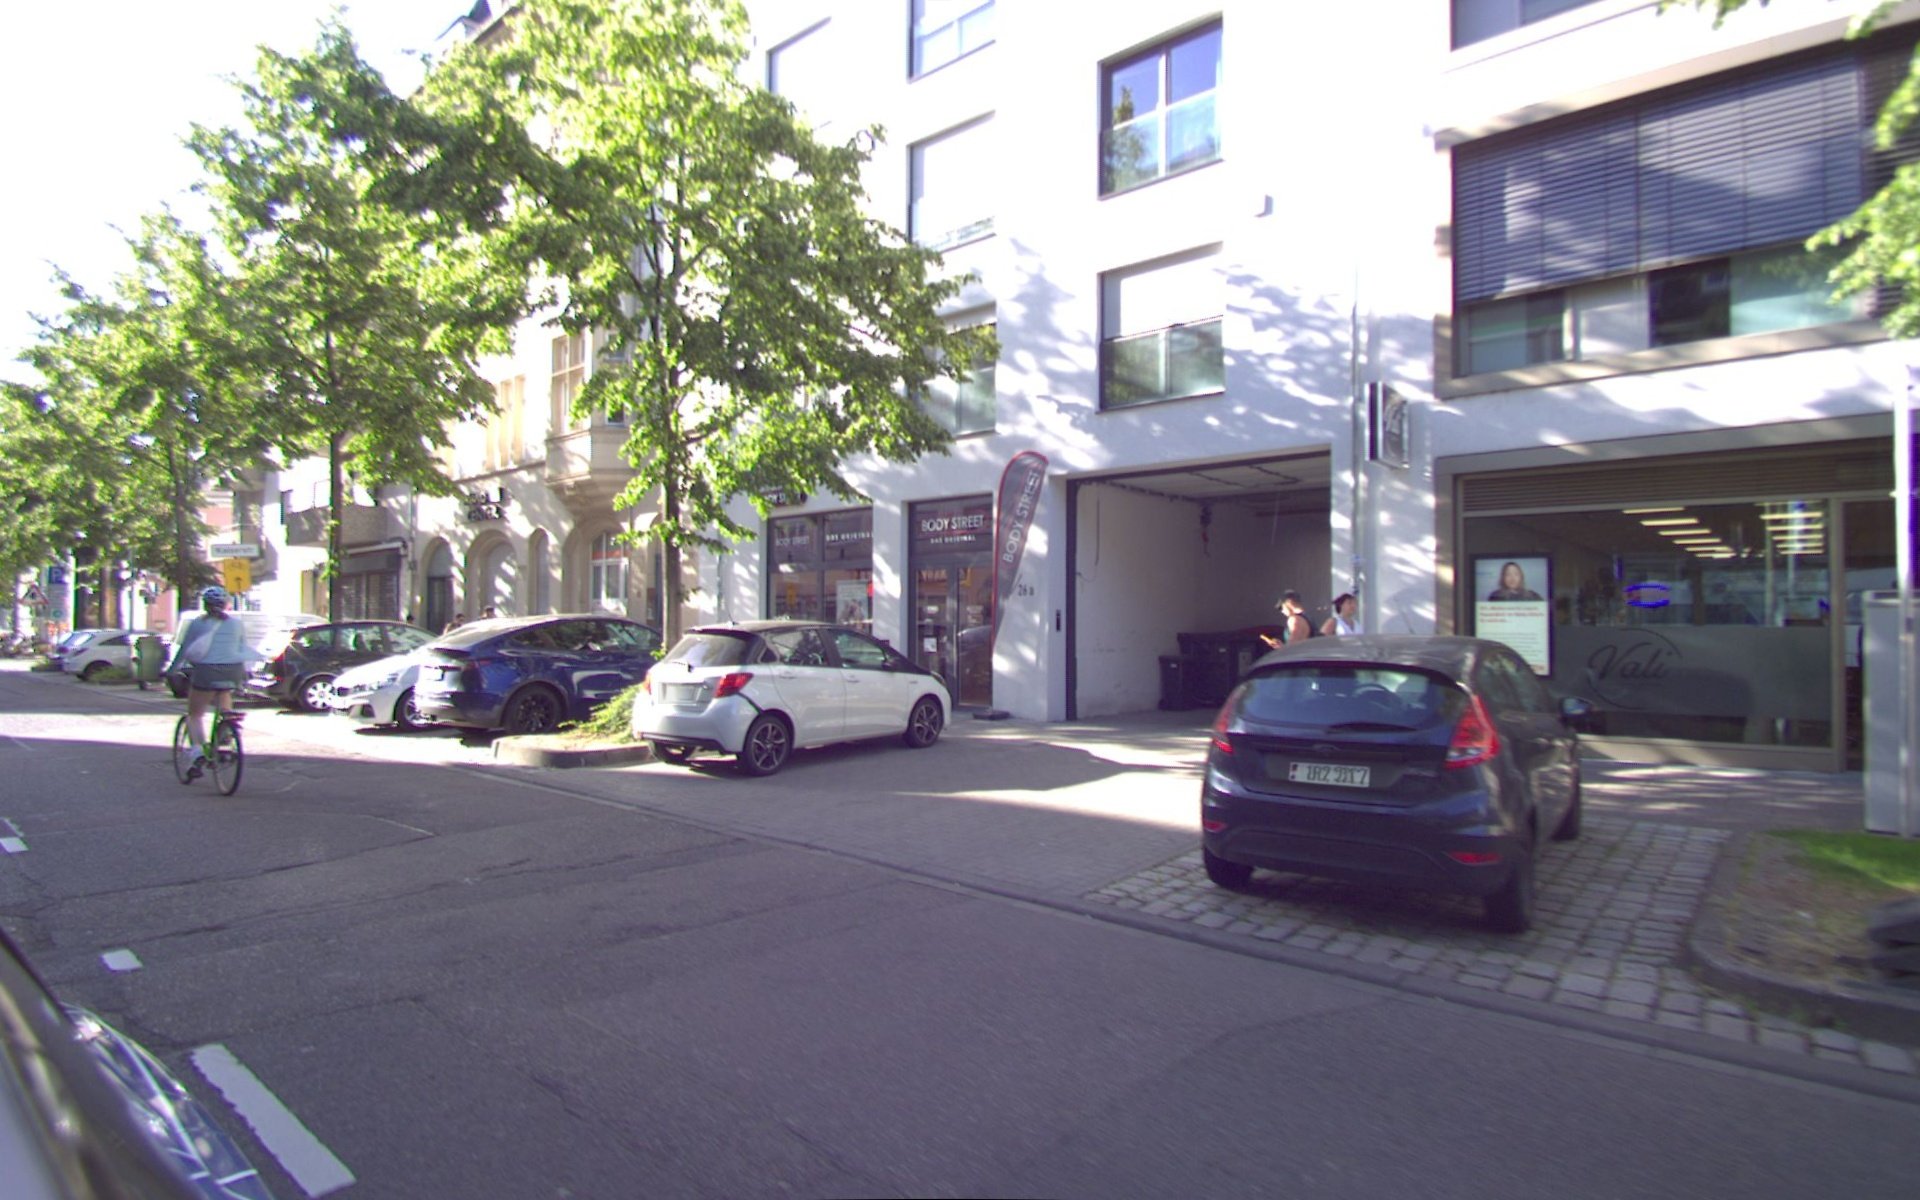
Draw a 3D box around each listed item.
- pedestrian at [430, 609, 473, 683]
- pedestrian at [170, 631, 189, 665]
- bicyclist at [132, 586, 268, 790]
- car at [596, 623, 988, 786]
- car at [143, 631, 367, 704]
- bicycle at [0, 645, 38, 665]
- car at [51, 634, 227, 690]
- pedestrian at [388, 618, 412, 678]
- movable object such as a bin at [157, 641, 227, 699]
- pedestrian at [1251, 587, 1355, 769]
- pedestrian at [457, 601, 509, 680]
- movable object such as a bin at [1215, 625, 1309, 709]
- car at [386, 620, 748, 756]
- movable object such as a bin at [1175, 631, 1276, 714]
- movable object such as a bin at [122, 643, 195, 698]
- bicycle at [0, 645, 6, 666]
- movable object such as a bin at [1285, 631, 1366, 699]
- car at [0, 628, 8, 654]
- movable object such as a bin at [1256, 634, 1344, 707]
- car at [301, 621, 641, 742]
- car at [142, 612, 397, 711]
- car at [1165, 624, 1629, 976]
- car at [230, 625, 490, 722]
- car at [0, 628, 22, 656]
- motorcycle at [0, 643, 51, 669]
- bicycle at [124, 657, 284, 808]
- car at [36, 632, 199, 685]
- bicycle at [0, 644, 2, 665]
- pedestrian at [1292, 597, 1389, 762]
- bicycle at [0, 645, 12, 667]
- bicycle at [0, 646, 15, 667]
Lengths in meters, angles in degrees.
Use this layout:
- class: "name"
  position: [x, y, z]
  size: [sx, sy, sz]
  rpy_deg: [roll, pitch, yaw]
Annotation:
- class: "pedestrian"
  position: [-11.735, 1.048, 23.347]
  size: [0.726, 1.638, 0.560]
  rpy_deg: [-2, 2, 39]
- class: "pedestrian"
  position: [-40.914, 2.505, 53.033]
  size: [0.579, 1.740, 0.622]
  rpy_deg: [-2, -3, 38]
- class: "bicyclist"
  position: [-6.943, 0.768, 9.235]
  size: [1.282, 1.713, 0.717]
  rpy_deg: [-2, -3, 41]
- class: "car"
  position: [-1.700, 1.011, 11.475]
  size: [1.977, 1.470, 4.206]
  rpy_deg: [-2, -2, 37]
- class: "car"
  position: [-16.219, 1.487, 23.420]
  size: [1.886, 1.475, 3.938]
  rpy_deg: [-2, -2, 41]
- class: "bicycle"
  position: [-46.871, 2.720, 50.404]
  size: [1.493, 0.958, 0.360]
  rpy_deg: [-1, -1, -8]
- class: "car"
  position: [-23.966, 1.765, 29.636]
  size: [1.708, 1.475, 3.742]
  rpy_deg: [-2, -2, 38]
- class: "pedestrian"
  position: [-15.984, 1.363, 28.878]
  size: [0.639, 1.684, 0.429]
  rpy_deg: [-2, -2, 43]
- class: "movable object such as a bin"
  position: [-18.614, 1.678, 24.533]
  size: [0.931, 1.355, 1.180]
  rpy_deg: [-2, -2, 40]
- class: "pedestrian"
  position: [3.588, 0.788, 10.607]
  size: [0.690, 1.811, 0.747]
  rpy_deg: [1, -3, -38]
- class: "pedestrian"
  position: [-11.267, 0.940, 23.913]
  size: [0.762, 1.779, 0.767]
  rpy_deg: [-2, 2, 39]
- class: "movable object such as a bin"
  position: [5.571, 1.204, 18.652]
  size: [1.104, 1.452, 1.533]
  rpy_deg: [-3, -2, 40]
- class: "car"
  position: [-5.322, 1.094, 14.157]
  size: [1.979, 1.582, 4.321]
  rpy_deg: [-2, -2, 41]
- class: "movable object such as a bin"
  position: [4.599, 1.223, 17.503]
  size: [1.104, 1.317, 1.533]
  rpy_deg: [-3, -2, 40]
- class: "movable object such as a bin"
  position: [-19.637, 1.707, 24.799]
  size: [0.869, 1.312, 1.225]
  rpy_deg: [-2, -3, 40]
- class: "bicycle"
  position: [-47.668, 2.731, 49.105]
  size: [0.471, 1.037, 1.987]
  rpy_deg: [-1, -1, 27]
- class: "movable object such as a bin"
  position: [7.695, 1.343, 21.282]
  size: [1.104, 1.317, 1.533]
  rpy_deg: [-3, -2, 40]
- class: "car"
  position: [-65.101, 2.702, 66.056]
  size: [1.998, 1.693, 4.082]
  rpy_deg: [-2, -2, 39]
- class: "movable object such as a bin"
  position: [6.681, 1.355, 19.860]
  size: [1.104, 1.317, 1.533]
  rpy_deg: [-3, -2, 40]
- class: "car"
  position: [-7.357, 1.131, 15.590]
  size: [1.945, 1.582, 4.321]
  rpy_deg: [-2, -2, 41]
- class: "car"
  position: [-14.388, 1.212, 21.257]
  size: [2.037, 1.850, 4.063]
  rpy_deg: [-2, -2, 41]
- class: "car"
  position: [2.926, 0.892, 6.292]
  size: [1.778, 1.470, 3.744]
  rpy_deg: [-2, -2, 37]
- class: "car"
  position: [-10.934, 1.267, 18.638]
  size: [1.791, 1.570, 3.760]
  rpy_deg: [-2, -2, 41]
- class: "car"
  position: [-60.841, 2.603, 62.459]
  size: [1.998, 1.693, 4.082]
  rpy_deg: [-2, -2, 39]
- class: "motorcycle"
  position: [-45.428, 2.693, 49.050]
  size: [0.740, 1.194, 1.977]
  rpy_deg: [-2, -2, 43]
- class: "bicycle"
  position: [-6.895, 1.125, 9.186]
  size: [2.196, 1.178, 0.717]
  rpy_deg: [-2, -3, 41]
- class: "car"
  position: [-28.003, 1.902, 33.739]
  size: [1.747, 1.475, 3.957]
  rpy_deg: [0, 0, 40]
- class: "bicycle"
  position: [-48.106, 2.724, 49.358]
  size: [0.471, 1.037, 1.987]
  rpy_deg: [-1, -1, 27]
- class: "pedestrian"
  position: [4.220, 0.858, 11.251]
  size: [0.636, 1.749, 0.747]
  rpy_deg: [0, -2, -22]
- class: "bicycle"
  position: [-47.216, 2.730, 48.900]
  size: [0.471, 1.037, 1.987]
  rpy_deg: [-1, -1, 27]
- class: "bicycle"
  position: [-46.759, 2.745, 48.616]
  size: [0.471, 1.037, 1.987]
  rpy_deg: [-1, -1, 27]
